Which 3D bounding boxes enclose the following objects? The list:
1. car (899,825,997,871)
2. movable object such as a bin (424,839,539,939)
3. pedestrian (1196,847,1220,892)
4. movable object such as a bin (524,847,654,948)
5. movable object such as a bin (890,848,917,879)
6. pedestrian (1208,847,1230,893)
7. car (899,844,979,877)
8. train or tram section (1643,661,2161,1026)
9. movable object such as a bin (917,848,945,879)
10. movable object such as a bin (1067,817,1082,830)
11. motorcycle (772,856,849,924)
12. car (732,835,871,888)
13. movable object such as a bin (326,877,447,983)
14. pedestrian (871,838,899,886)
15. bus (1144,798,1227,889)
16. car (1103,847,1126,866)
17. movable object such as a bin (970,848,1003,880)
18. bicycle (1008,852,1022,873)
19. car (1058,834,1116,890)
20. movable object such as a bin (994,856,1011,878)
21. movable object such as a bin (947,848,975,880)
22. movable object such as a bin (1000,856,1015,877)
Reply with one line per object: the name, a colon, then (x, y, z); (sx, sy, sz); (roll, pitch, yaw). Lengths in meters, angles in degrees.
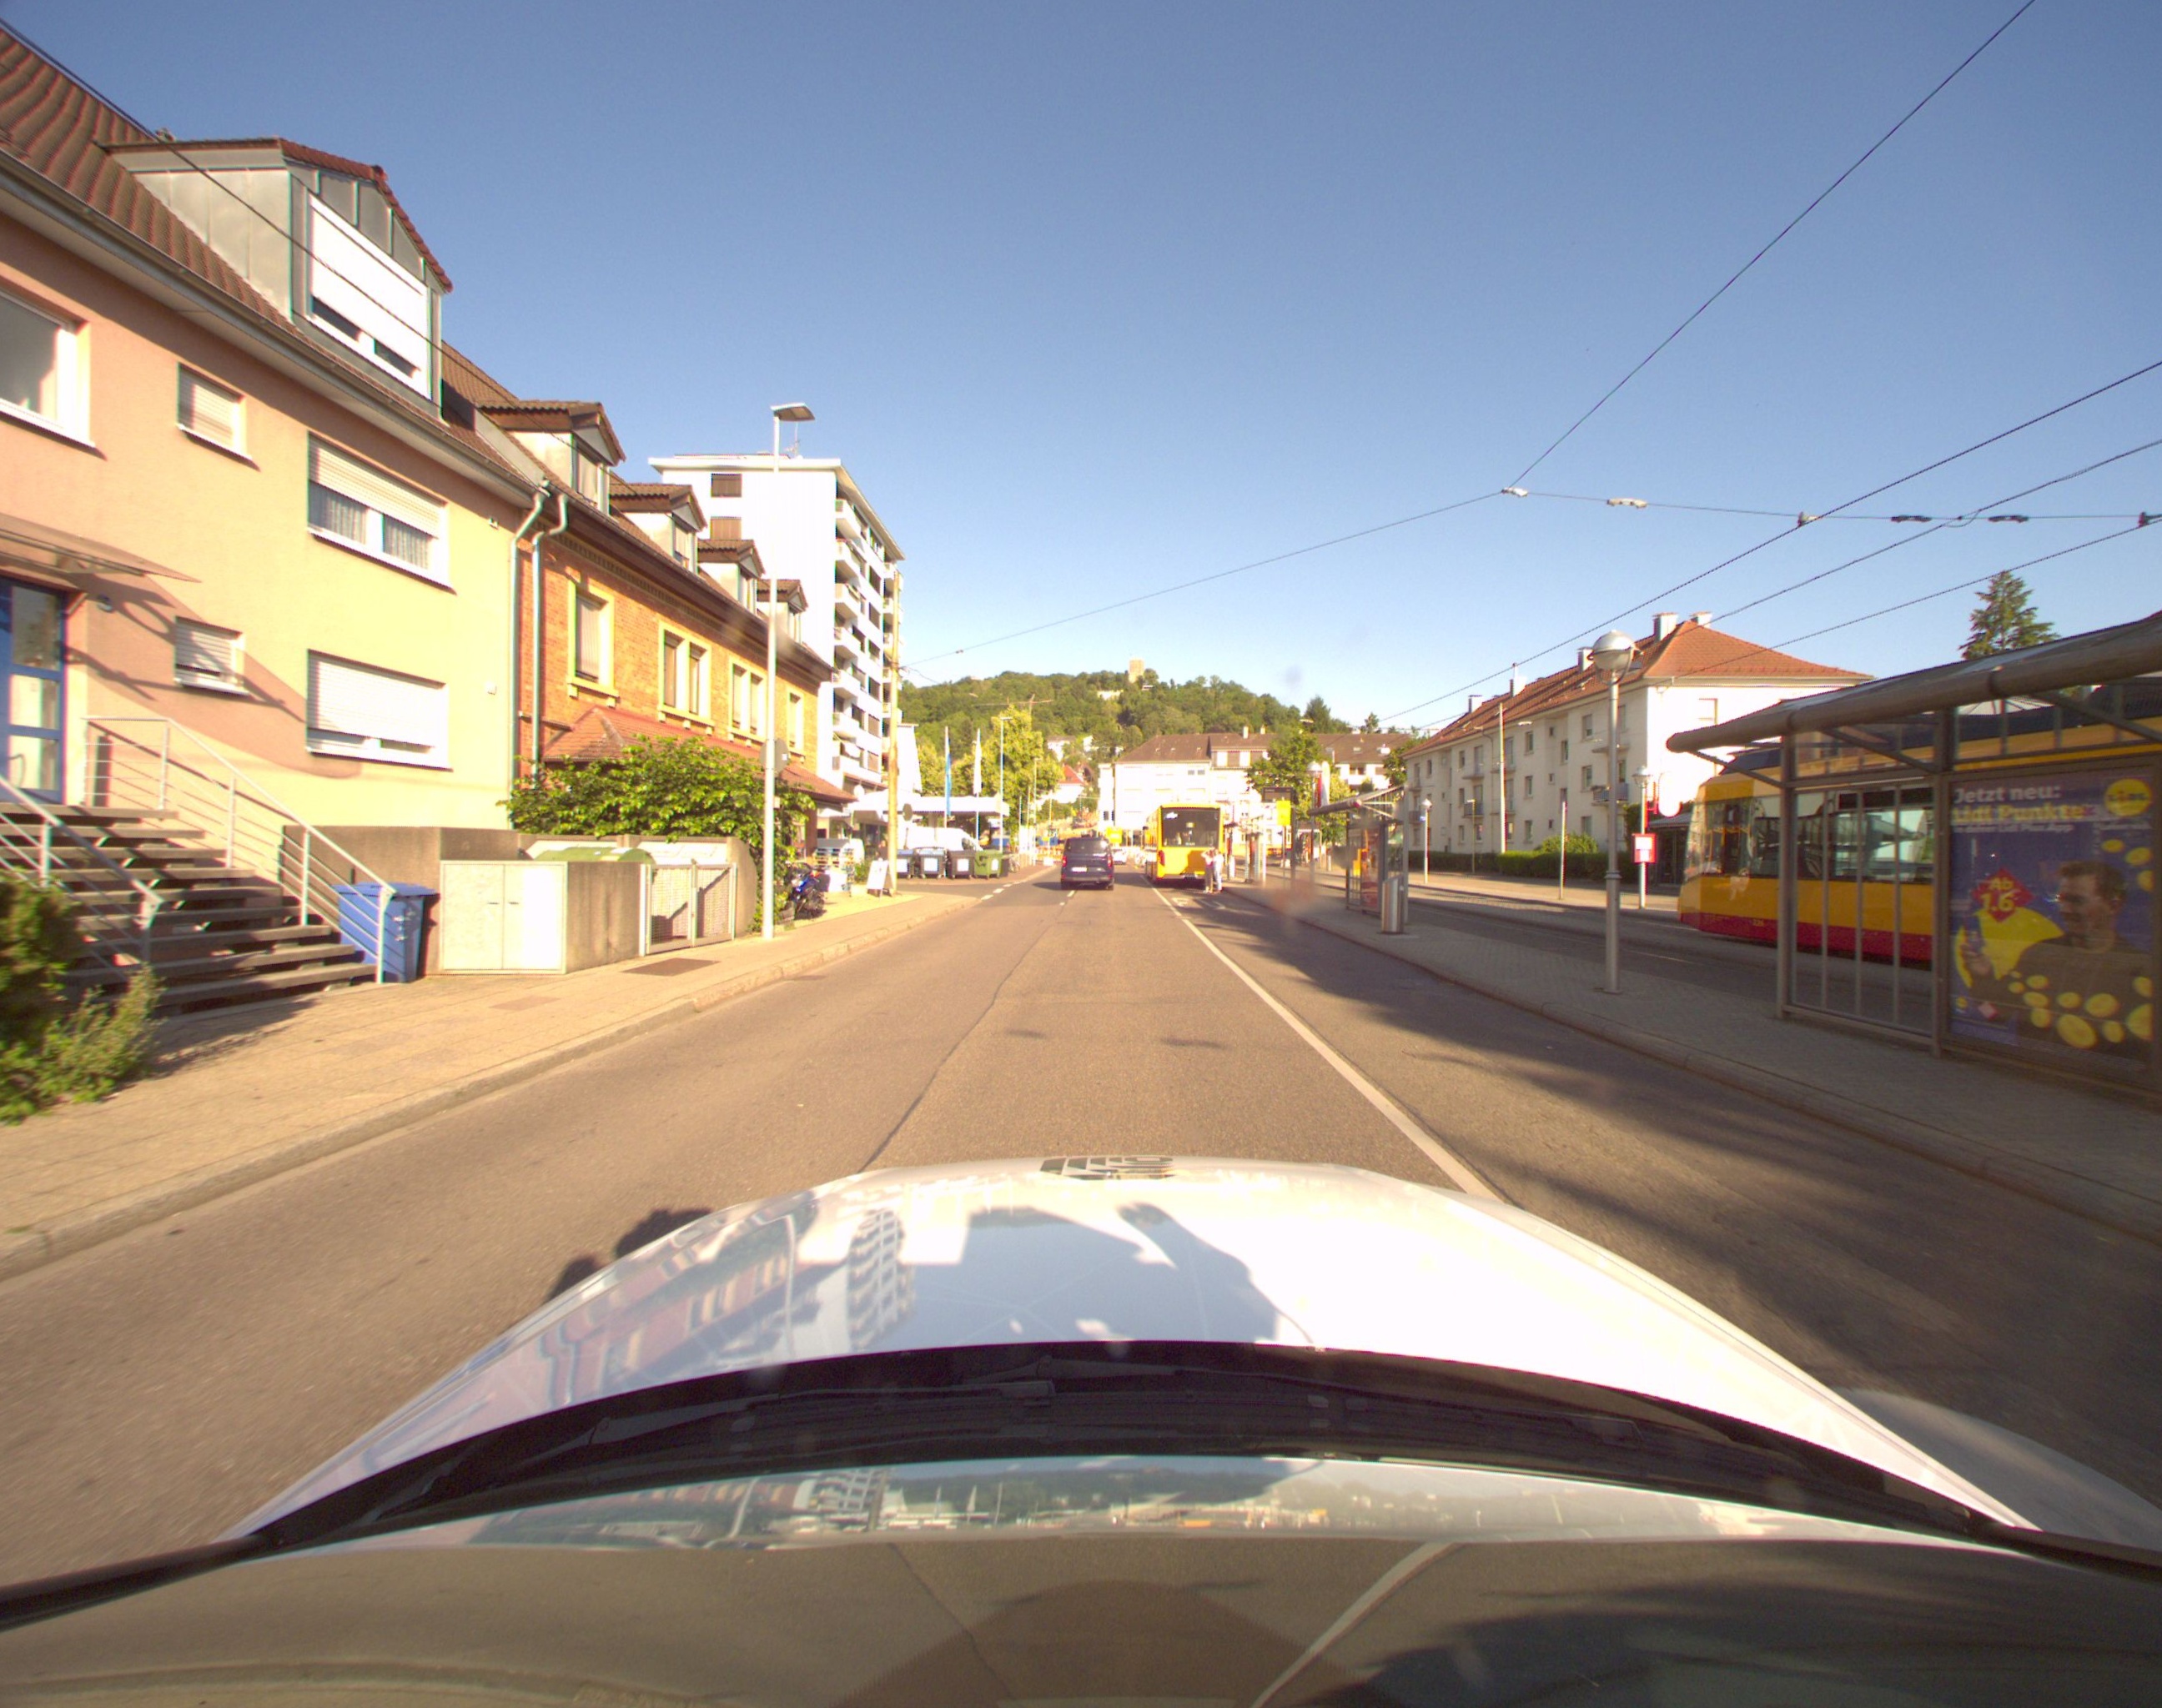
car: (-7.433, -0.314, 45.453); (5.072, 2.469, 2.095); (1, 0, -20)
movable object such as a bin: (-8.865, 0.492, 12.091); (0.919, 1.429, 1.042); (0, 0, -1)
pedestrian: (4.581, 0.562, 29.407); (0.548, 1.613, 0.629); (0, 0, -35)
movable object such as a bin: (-7.236, 0.610, 12.046); (1.304, 1.429, 0.991); (0, 0, -2)
movable object such as a bin: (-8.641, 0.465, 39.637); (1.175, 1.482, 0.704); (0, 3, -3)
pedestrian: (4.923, 0.554, 29.087); (0.548, 1.613, 0.544); (0, 0, -35)
car: (-7.414, 0.327, 42.509); (3.990, 1.568, 1.766); (1, 1, -13)
train or tram section: (11.904, -0.115, 7.482); (2.946, 3.534, 15.977); (0, -1, 2)
movable object such as a bin: (-7.317, 0.455, 39.731); (1.215, 1.482, 0.704); (0, 3, -3)
movable object such as a bin: (-1.394, -6.473, 173.207); (2.175, 2.690, 4.015); (0, 1, 13)
motorcycle: (-5.555, 0.705, 16.861); (0.836, 1.282, 2.231); (1, 0, -1)
car: (-10.627, 0.271, 31.169); (4.600, 1.933, 2.000); (0, 0, 0)
movable object such as a bin: (-7.340, 0.787, 8.634); (0.755, 1.066, 0.602); (0, 0, 2)
pedestrian: (-7.751, 0.315, 32.221); (0.812, 1.867, 0.798); (0, 0, 11)
bus: (4.396, -0.483, 36.692); (2.678, 3.416, 12.026); (0, 1, 2)
car: (2.737, 0.200, 65.751); (1.786, 1.409, 4.004); (-1, 0, 3)
movable object such as a bin: (-4.728, 0.489, 40.861); (1.045, 1.482, 1.321); (2, 4, 30)
bicycle: (-3.891, 0.506, 47.729); (0.722, 1.178, 1.777); (0, 0, -7)
car: (0.310, 0.288, 31.732); (2.054, 2.013, 5.003); (0, 0, 2)
movable object such as a bin: (-4.012, 0.664, 41.769); (0.655, 1.062, 0.587); (3, 2, 14)
movable object such as a bin: (-5.869, 0.488, 39.829); (1.224, 1.482, 0.698); (-1, 4, -27)
movable object such as a bin: (-3.831, 0.655, 42.374); (0.635, 1.069, 0.582); (1, 3, 14)
